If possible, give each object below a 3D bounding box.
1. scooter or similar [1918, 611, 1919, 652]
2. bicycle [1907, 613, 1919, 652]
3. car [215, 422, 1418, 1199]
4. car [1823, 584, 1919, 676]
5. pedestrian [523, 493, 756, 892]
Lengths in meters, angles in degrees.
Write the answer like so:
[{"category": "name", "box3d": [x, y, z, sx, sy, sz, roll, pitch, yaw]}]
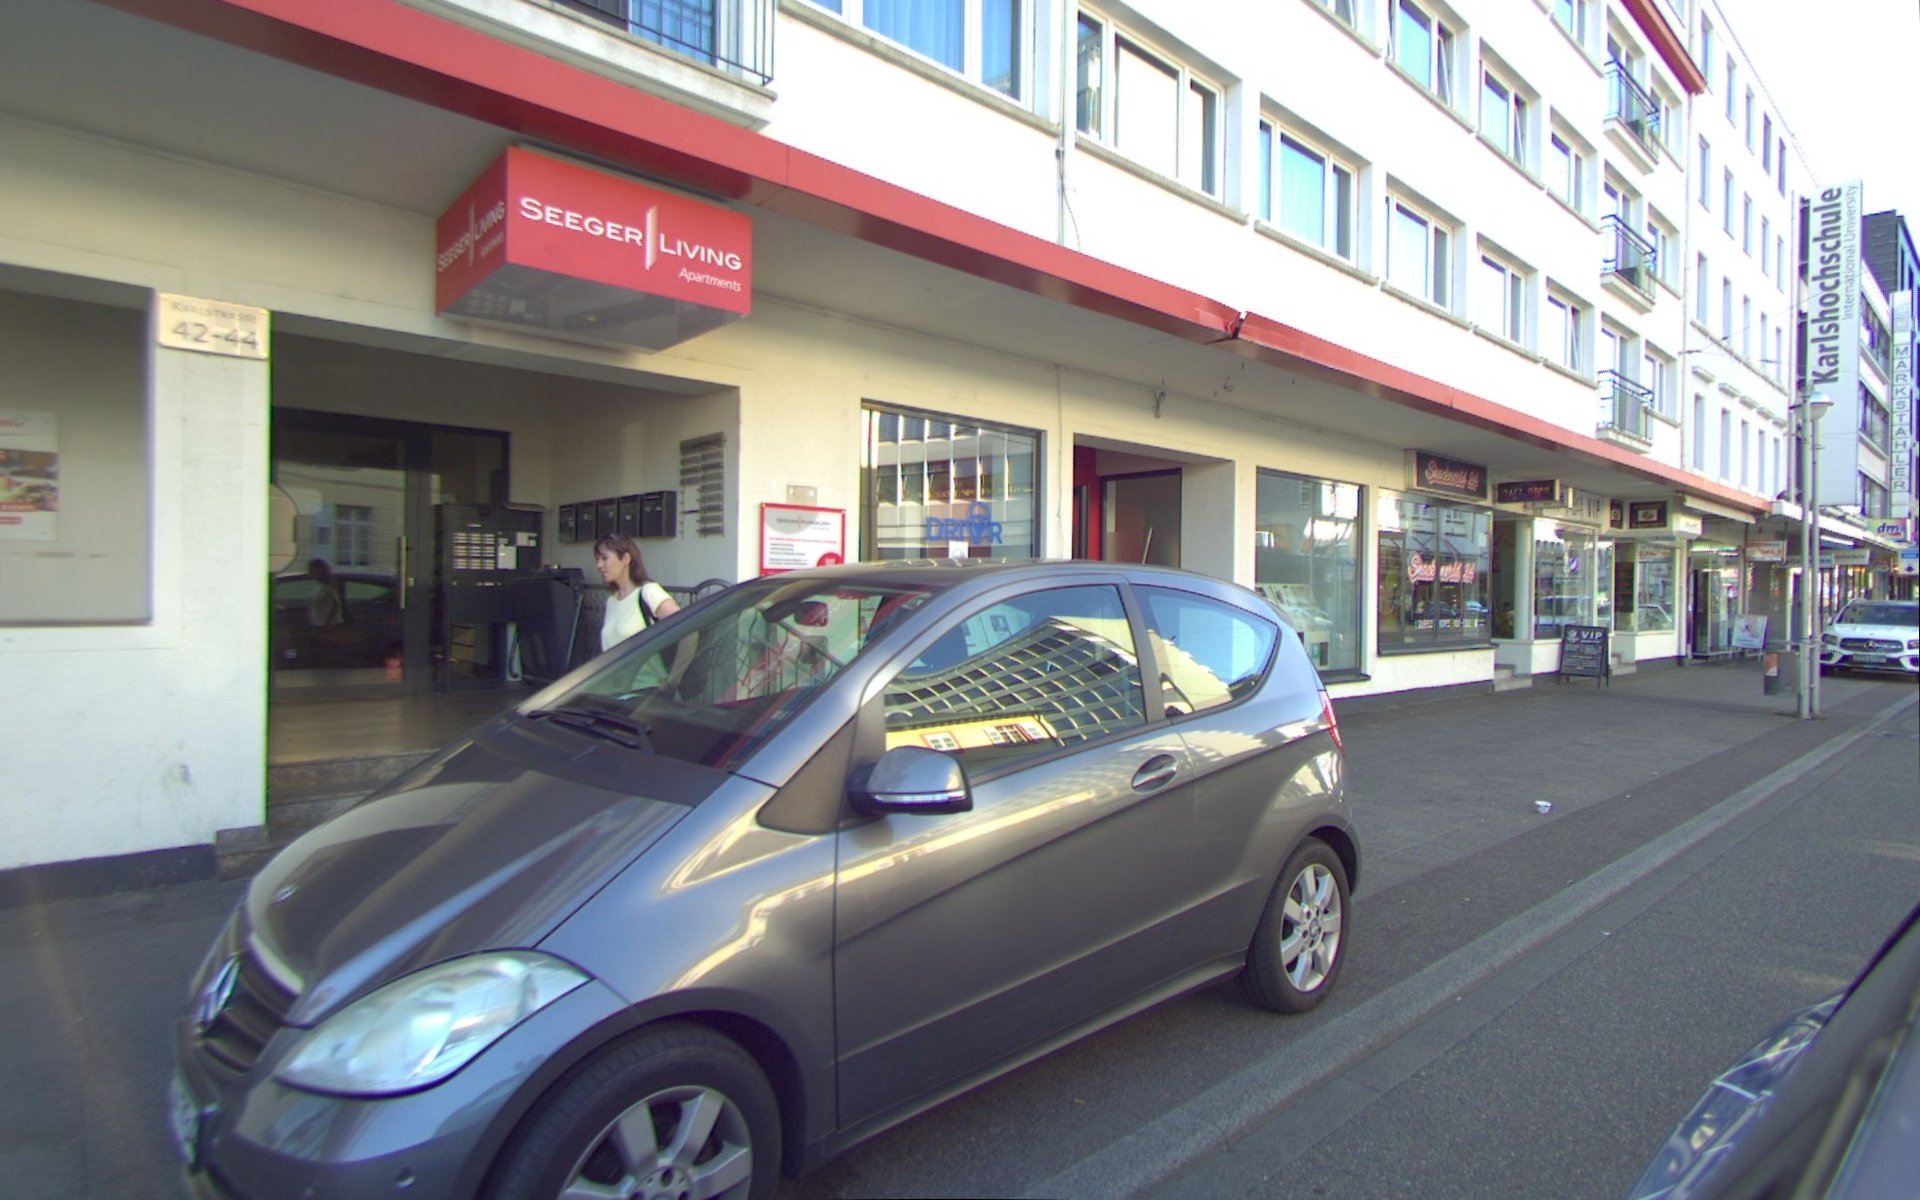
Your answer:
[{"category": "scooter or similar", "box3d": [27.671, 0.862, 28.467, 0.314, 1.247, 0.994, 0, 2, -42]}, {"category": "bicycle", "box3d": [27.324, 0.941, 28.343, 0.314, 1.093, 1.132, 0, 2, -42]}, {"category": "car", "box3d": [-0.171, 0.539, 3.371, 3.585, 1.652, 1.748, 1, 2, -41]}, {"category": "car", "box3d": [20.303, 0.582, 21.868, 5.104, 1.745, 1.852, 0, 3, -43]}, {"category": "pedestrian", "box3d": [-1.639, 0.409, 5.152, 0.915, 1.796, 0.806, 0, 1, -37]}]
